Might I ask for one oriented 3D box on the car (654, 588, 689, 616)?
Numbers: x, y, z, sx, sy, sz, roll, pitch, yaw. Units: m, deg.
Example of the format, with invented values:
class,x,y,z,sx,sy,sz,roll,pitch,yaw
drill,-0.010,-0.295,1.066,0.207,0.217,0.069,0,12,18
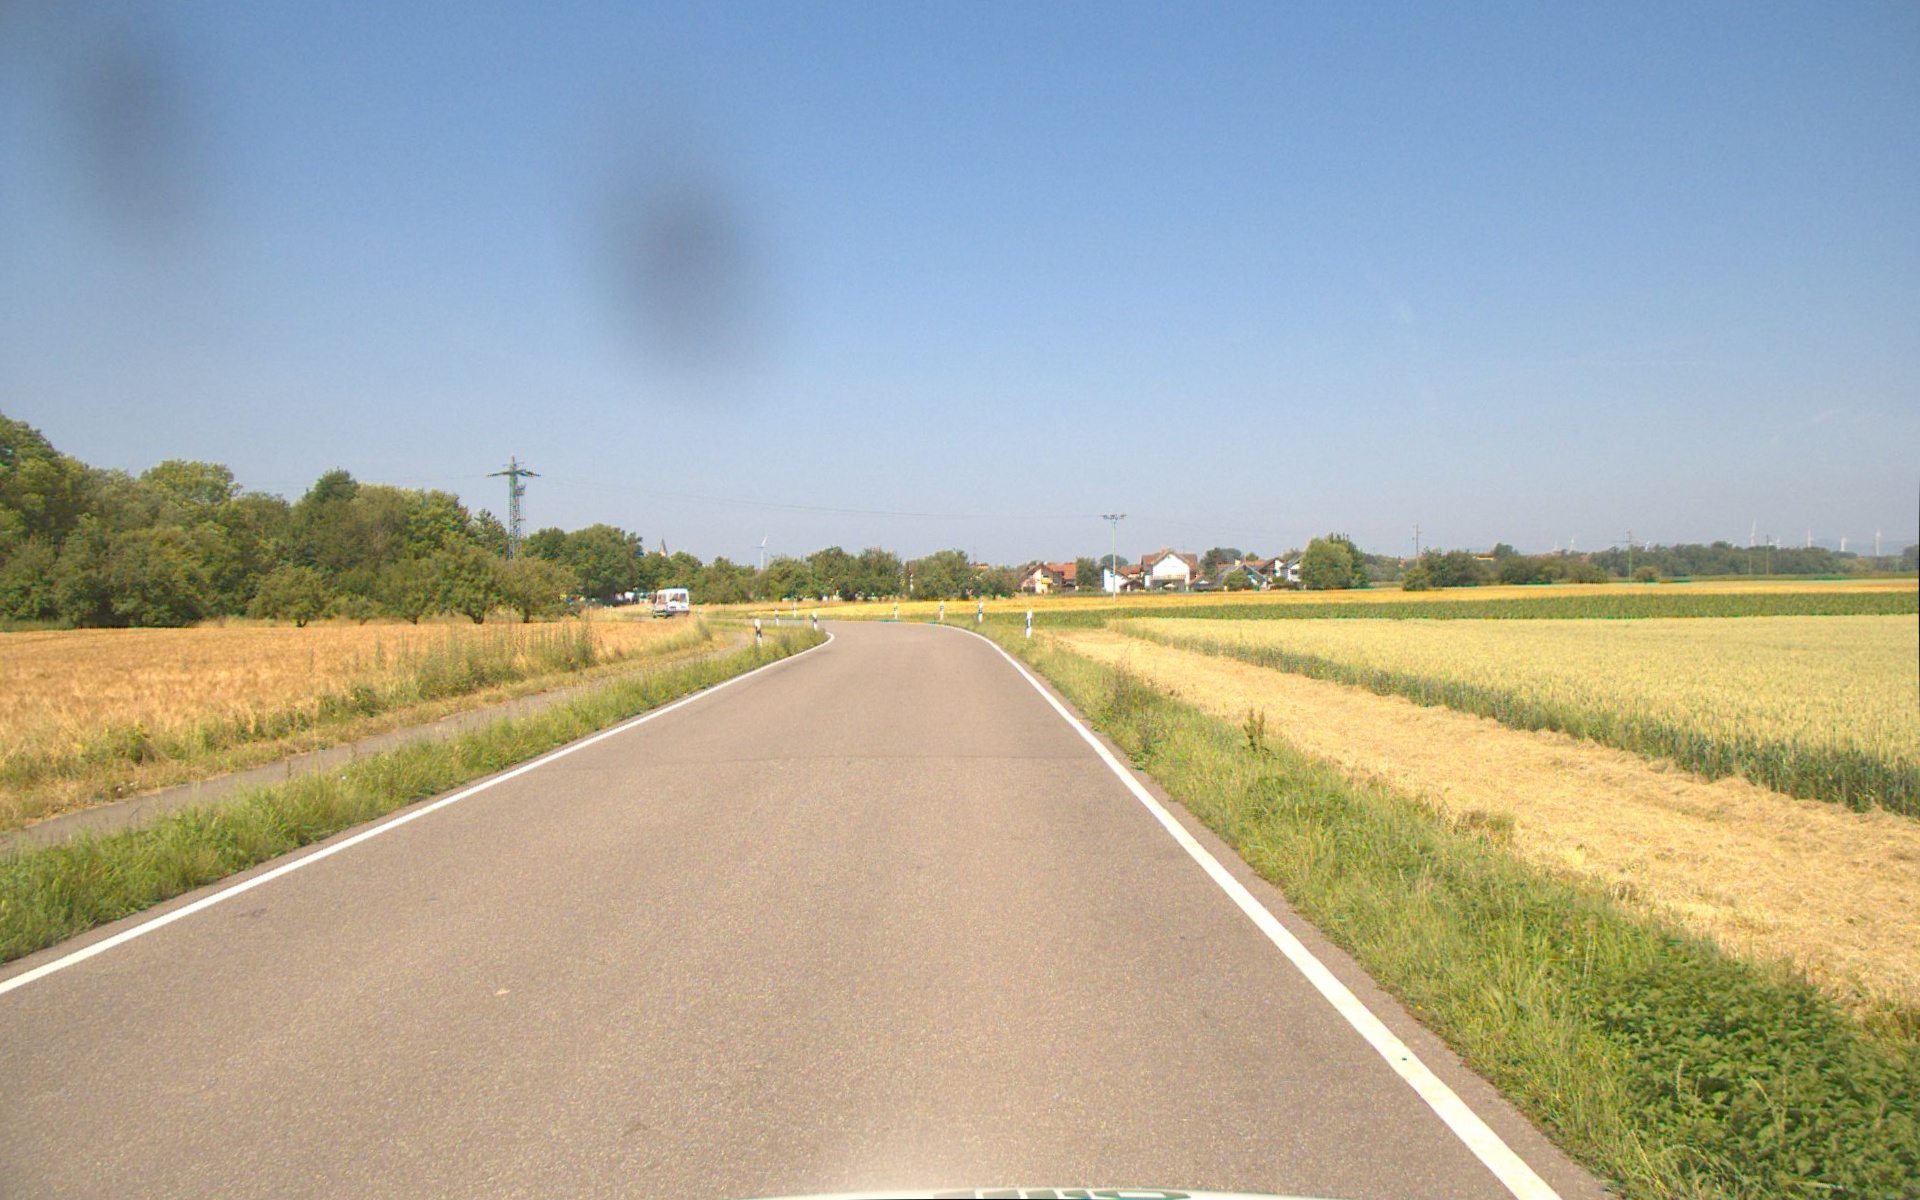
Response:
class,x,y,z,sx,sy,sz,roll,pitch,yaw
car,-24.514,0.162,140.457,1.966,2.306,4.694,-1,0,-22
